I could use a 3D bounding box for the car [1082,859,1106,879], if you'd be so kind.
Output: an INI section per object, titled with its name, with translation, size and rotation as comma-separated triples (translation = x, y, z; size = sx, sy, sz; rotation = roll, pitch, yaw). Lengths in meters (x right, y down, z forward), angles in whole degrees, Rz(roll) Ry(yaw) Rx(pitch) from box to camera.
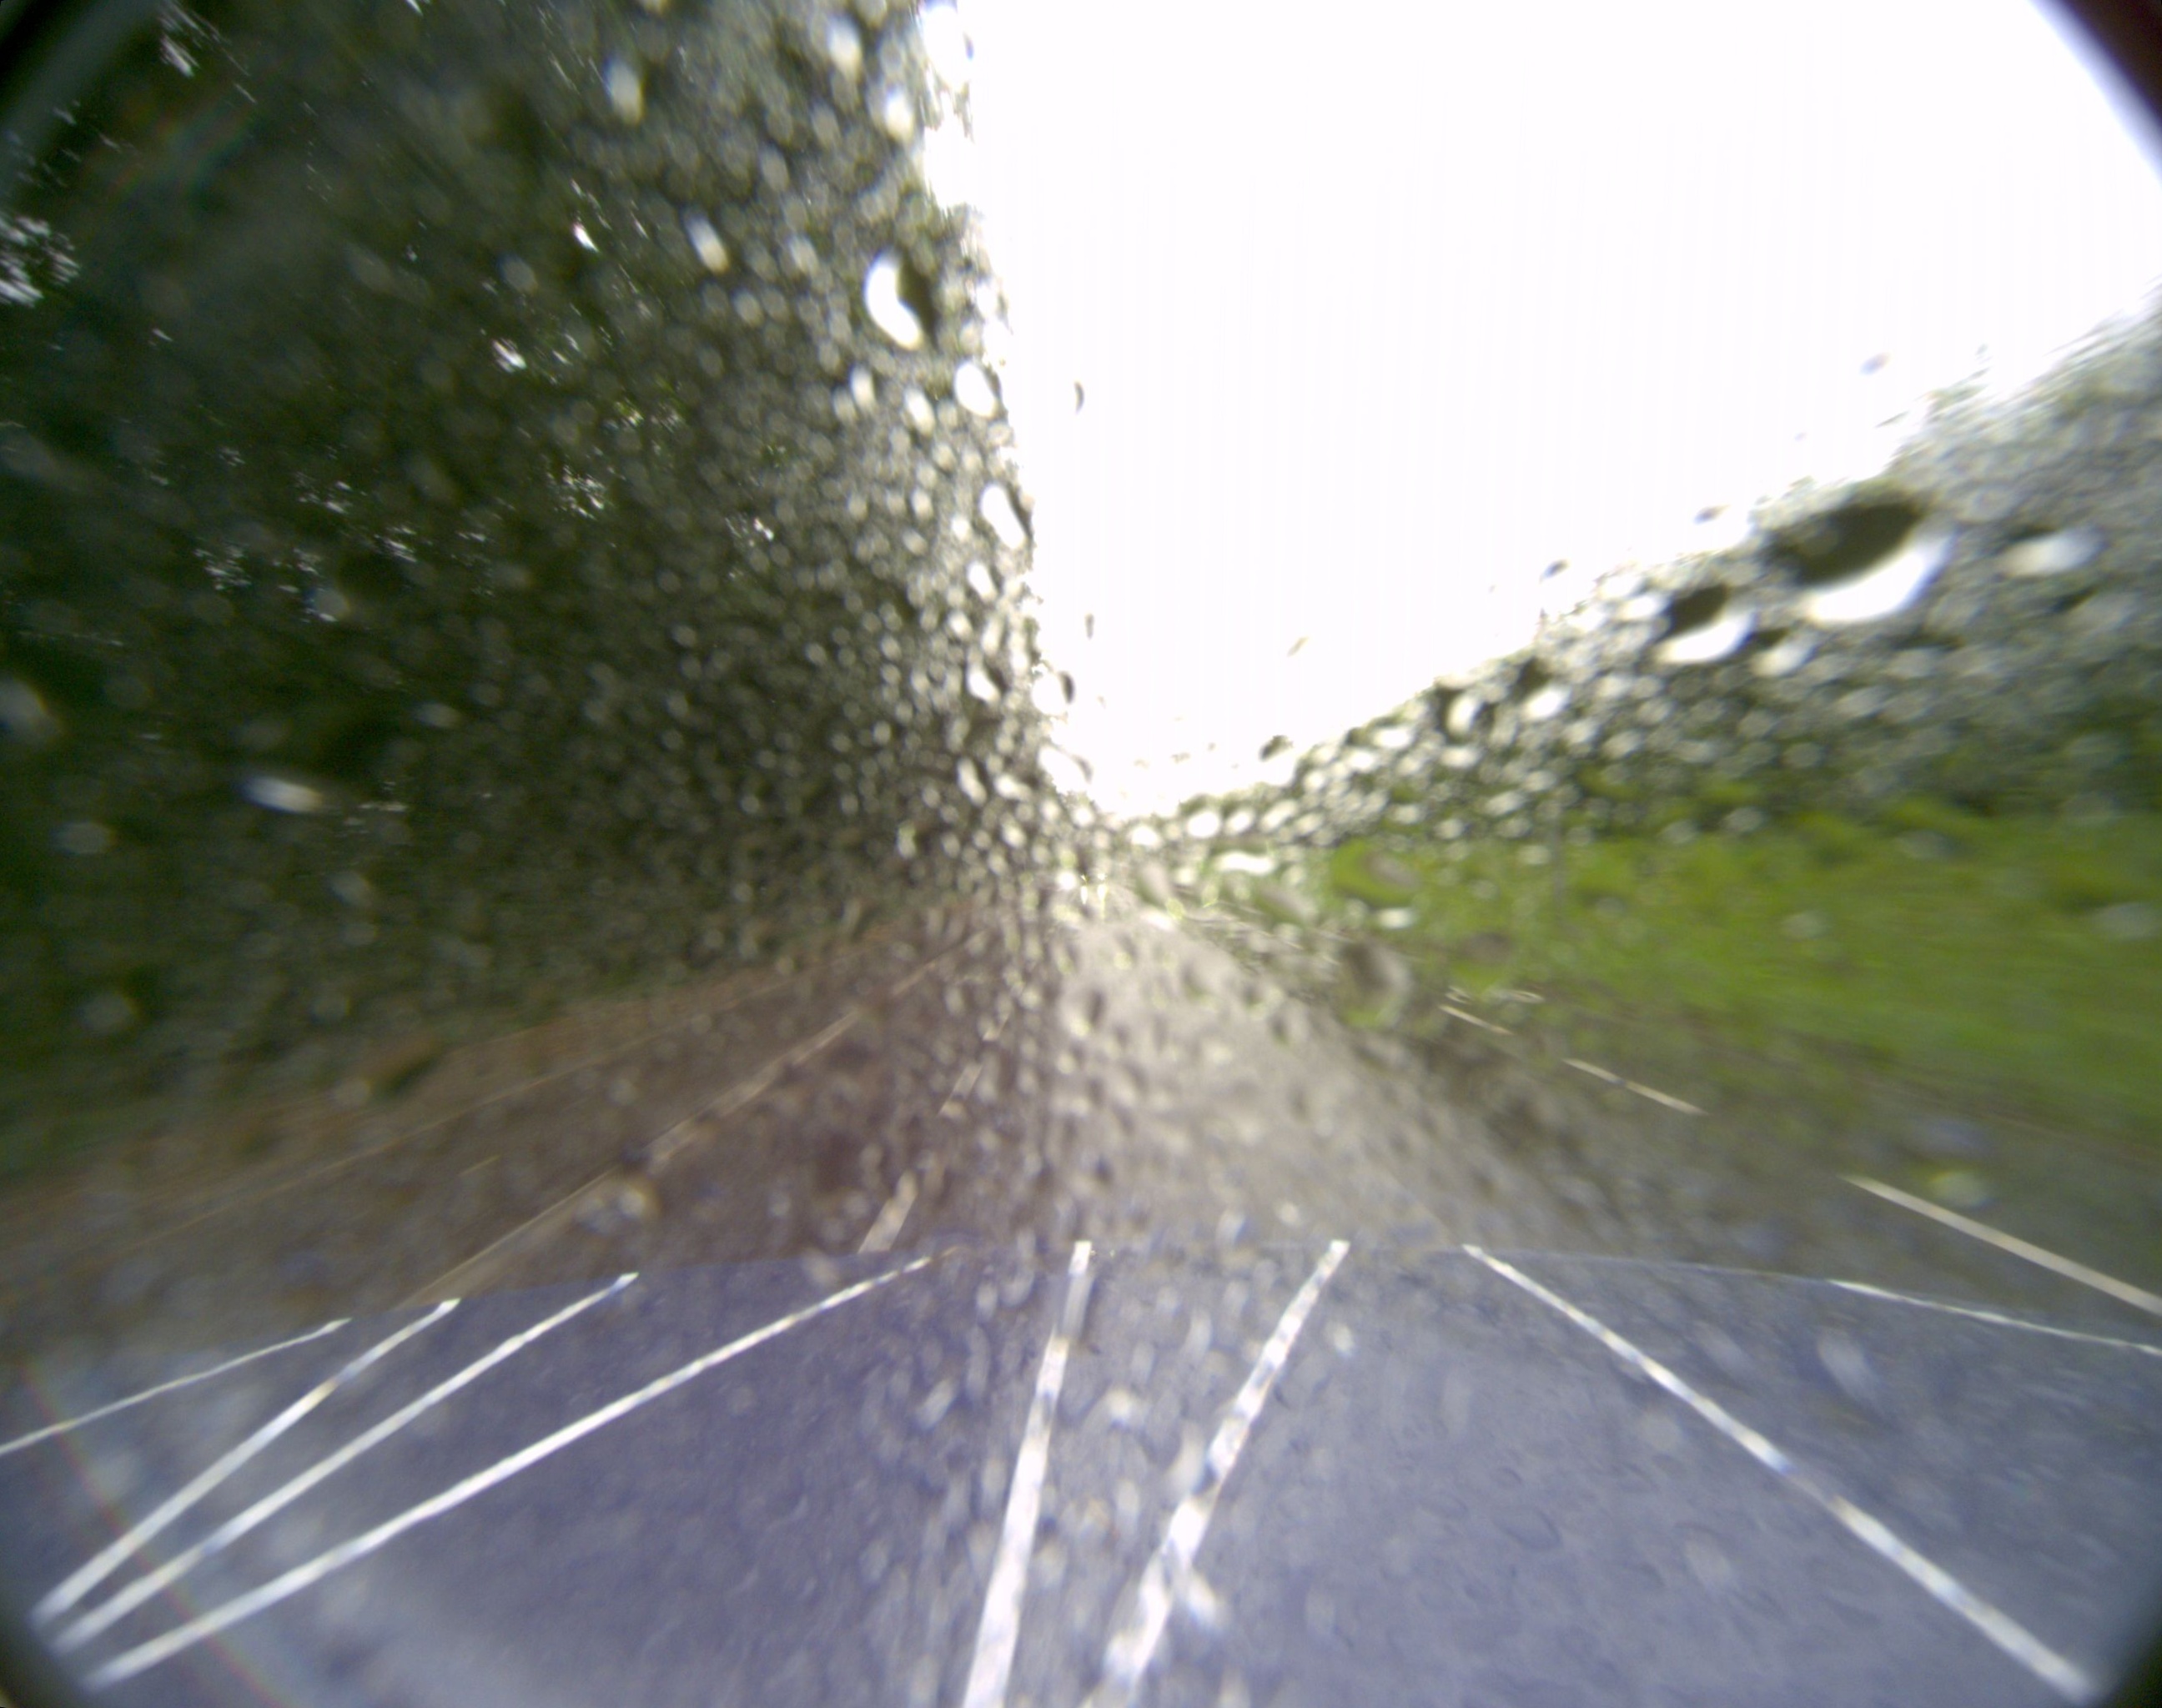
[car]
translation = 1.109, 1.203, 61.802
size = 1.799, 1.543, 4.001
rotation = -1, 0, 3
